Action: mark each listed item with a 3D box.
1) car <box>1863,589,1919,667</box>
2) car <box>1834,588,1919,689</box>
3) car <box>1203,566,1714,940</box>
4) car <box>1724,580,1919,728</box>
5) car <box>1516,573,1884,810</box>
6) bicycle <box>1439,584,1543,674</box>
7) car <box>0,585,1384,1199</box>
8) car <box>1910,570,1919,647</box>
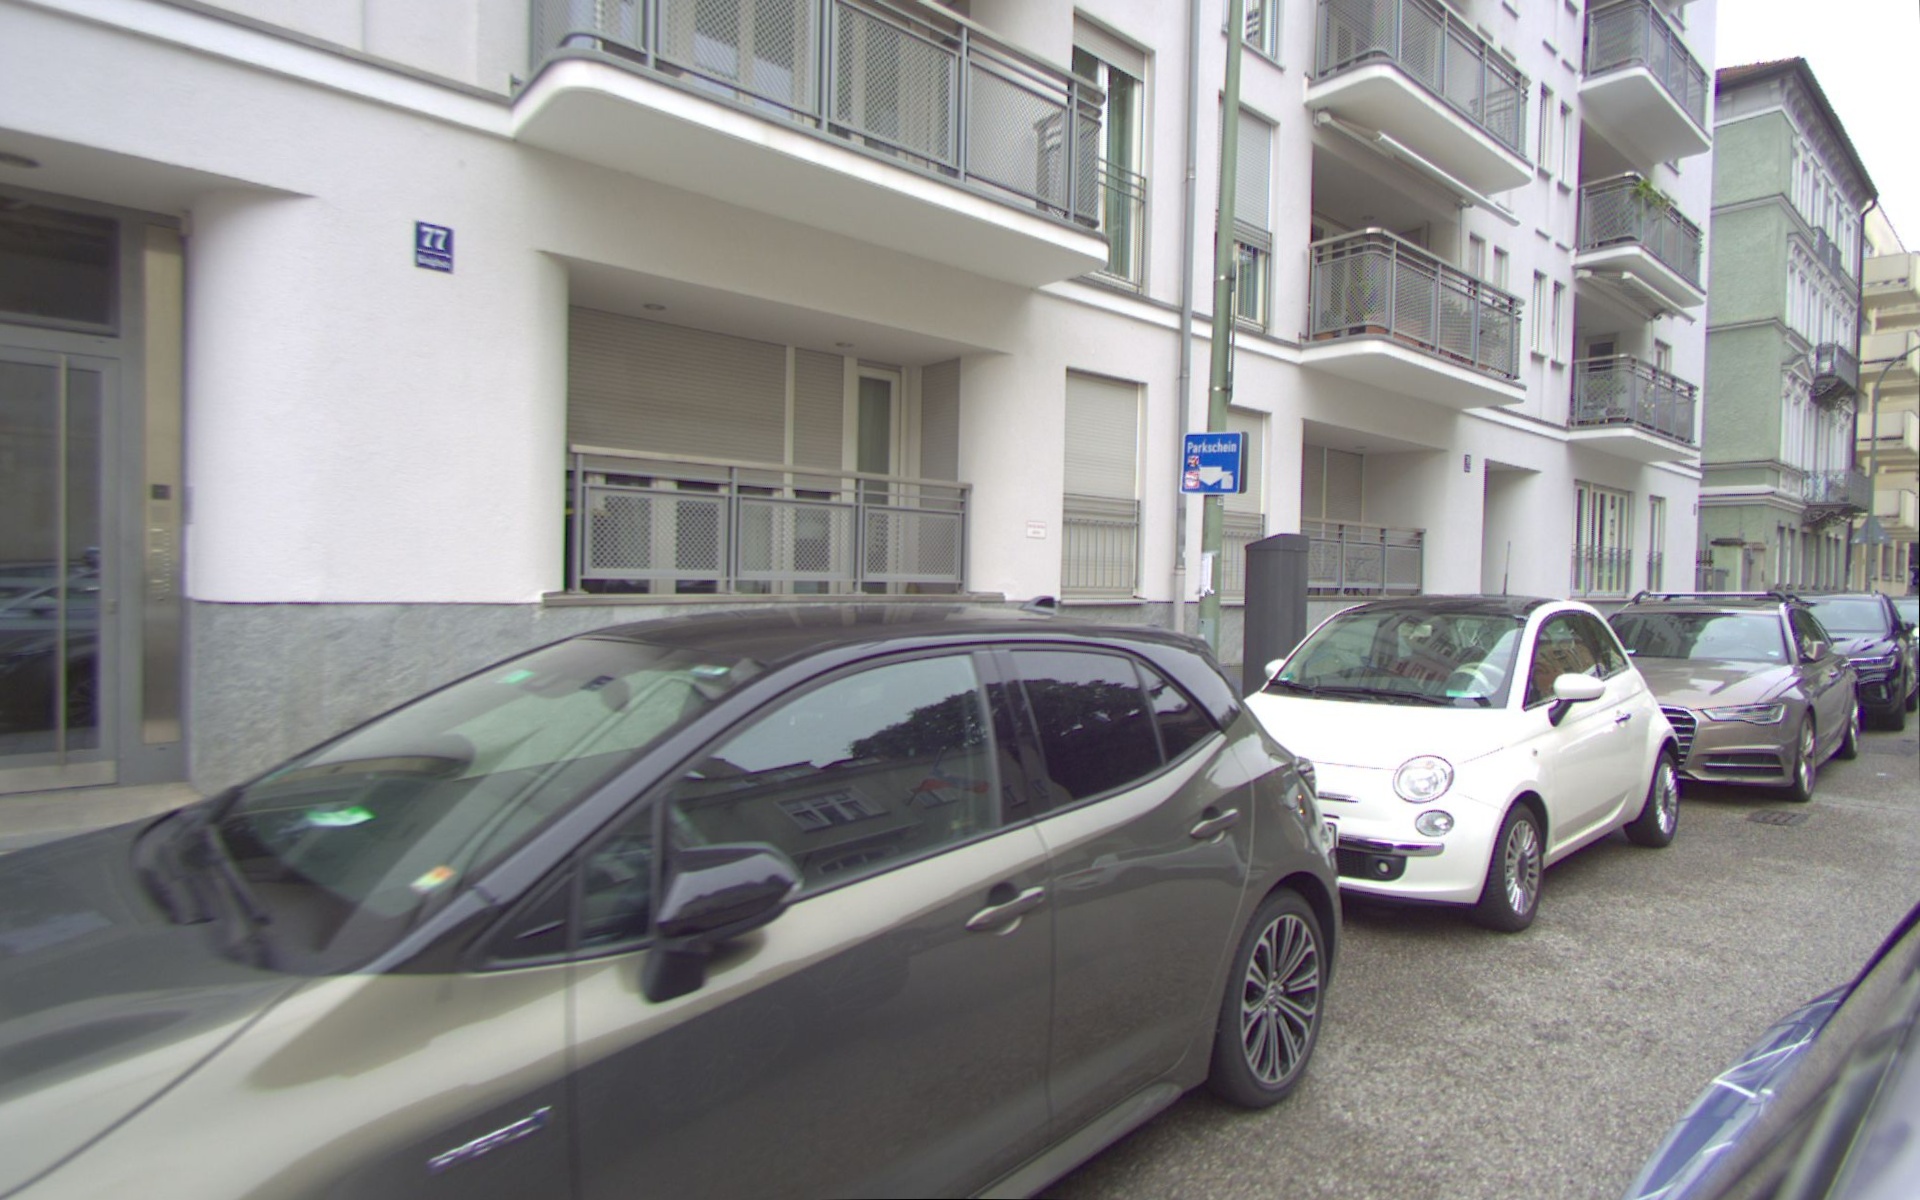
[{"bbox_3d":[18.915,0.499,19.756,3.494,1.430,1.620,-1,0,-43],"label":"car"},{"bbox_3d":[15.426,0.549,16.237,4.135,1.458,1.660,0,0,-43],"label":"car"},{"bbox_3d":[3.066,0.615,5.924,3.466,1.549,1.521,0,1,-42],"label":"car"},{"bbox_3d":[10.882,0.553,12.514,3.916,1.550,1.605,0,0,-43],"label":"car"},{"bbox_3d":[6.615,0.591,8.823,4.543,1.550,1.736,0,0,-43],"label":"car"},{"bbox_3d":[7.507,0.372,14.258,2.092,1.174,0.628,0,2,-43],"label":"bicycle"},{"bbox_3d":[-0.669,0.702,2.557,4.011,1.425,1.765,-1,2,-44],"label":"car"},{"bbox_3d":[26.231,0.217,26.199,4.510,1.920,1.857,0,-1,-40],"label":"car"}]
